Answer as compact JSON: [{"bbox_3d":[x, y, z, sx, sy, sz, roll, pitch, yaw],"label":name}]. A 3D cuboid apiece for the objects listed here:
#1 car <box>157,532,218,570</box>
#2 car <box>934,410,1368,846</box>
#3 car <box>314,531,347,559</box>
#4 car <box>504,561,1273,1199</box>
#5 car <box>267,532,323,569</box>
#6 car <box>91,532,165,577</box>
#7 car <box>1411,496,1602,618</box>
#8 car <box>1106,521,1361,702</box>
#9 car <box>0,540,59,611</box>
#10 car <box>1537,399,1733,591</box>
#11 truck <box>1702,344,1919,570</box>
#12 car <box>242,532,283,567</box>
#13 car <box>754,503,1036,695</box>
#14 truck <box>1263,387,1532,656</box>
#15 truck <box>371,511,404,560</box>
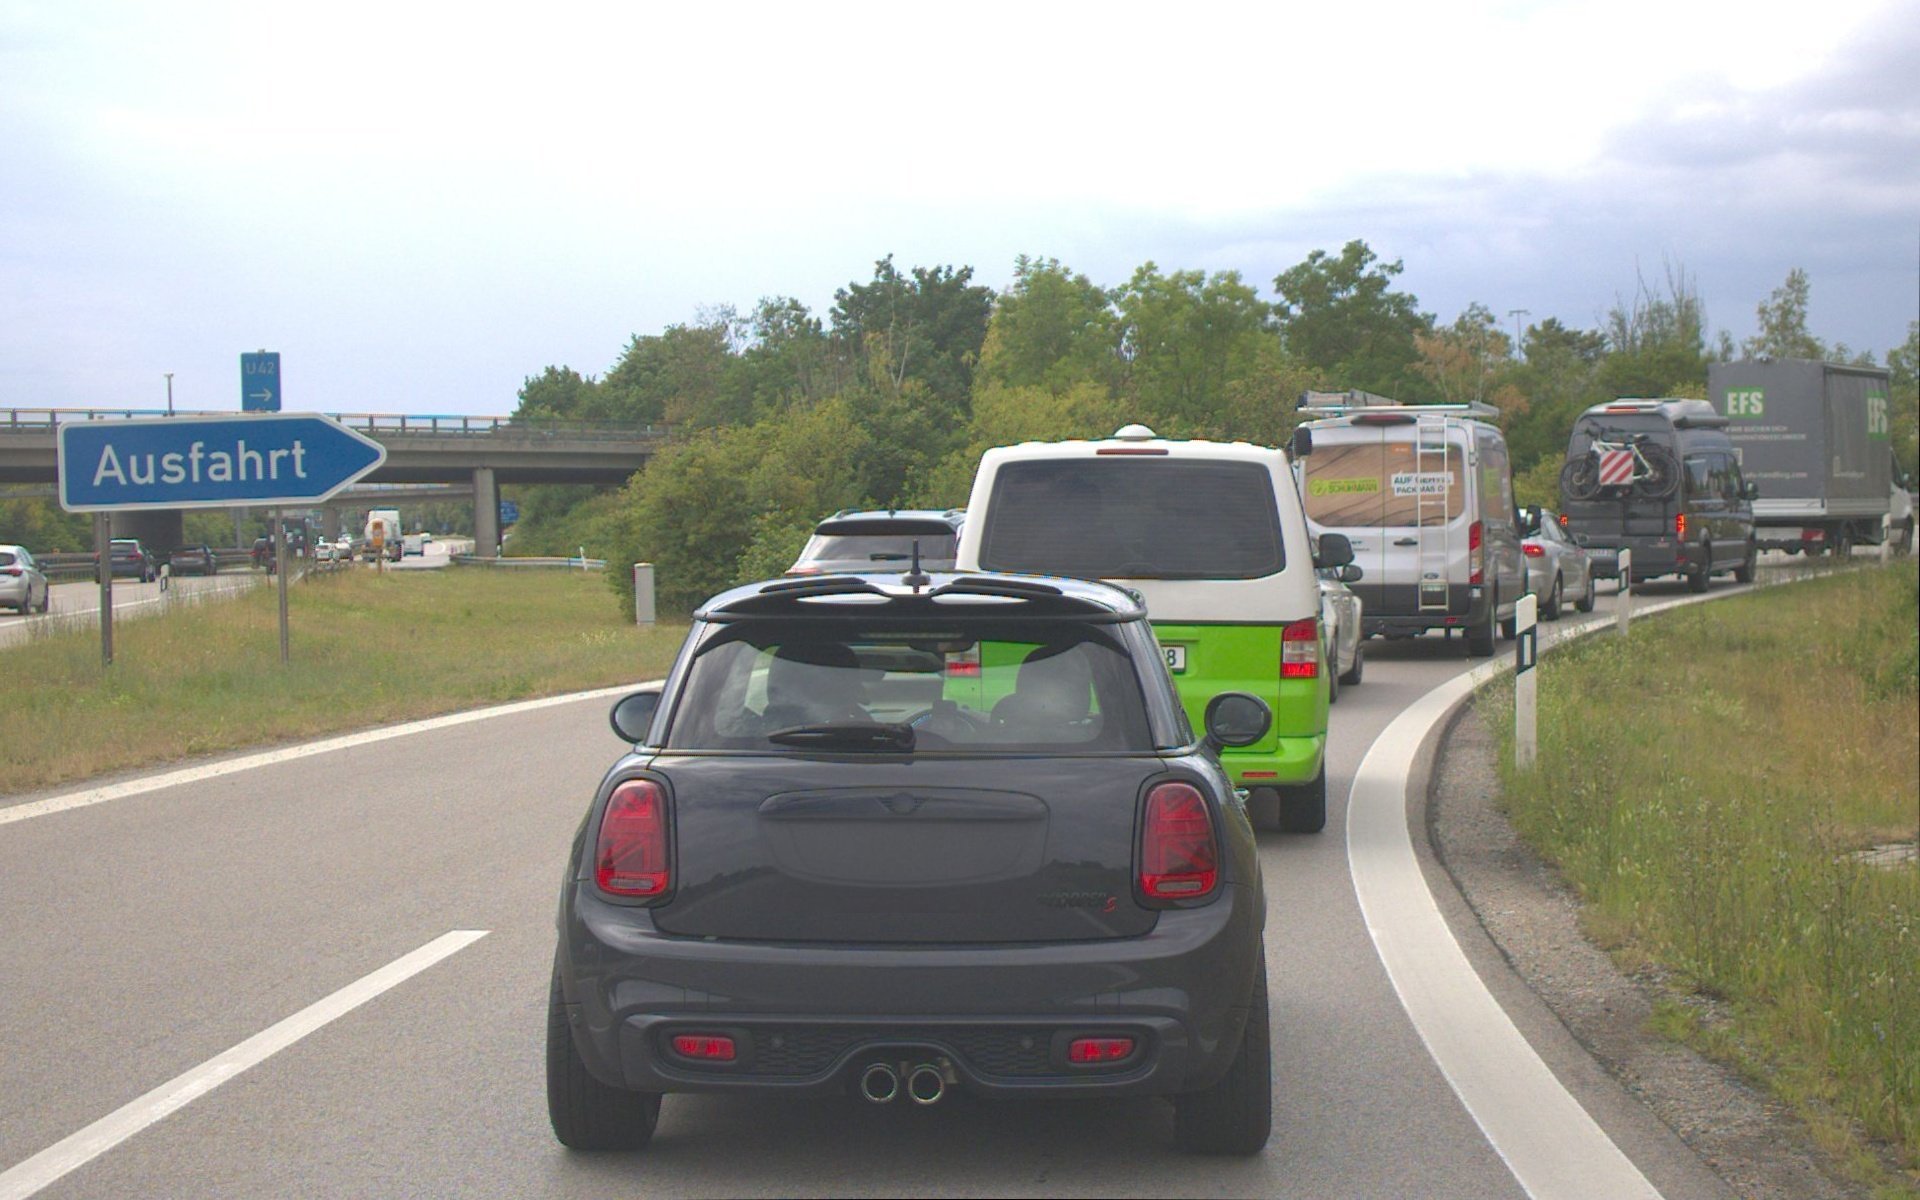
[{"bbox_3d":[-35.029,-2.235,156.017,2.159,1.665,4.307,-1,1,-5],"label":"car"},{"bbox_3d":[1.111,0.081,17.962,1.785,2.007,3.998,0,1,10],"label":"car"},{"bbox_3d":[-45.860,-3.999,250.593,1.993,1.961,4.001,1,0,-5],"label":"car"},{"bbox_3d":[-0.135,0.616,9.595,1.727,1.409,3.725,0,1,1],"label":"car"},{"bbox_3d":[-30.758,-2.311,159.023,2.095,1.665,4.307,-1,1,-5],"label":"car"},{"bbox_3d":[-31.583,-1.740,130.636,2.095,1.665,4.307,-1,1,-5],"label":"car"},{"bbox_3d":[7.162,-0.576,44.762,1.868,1.504,3.997,0,1,18],"label":"car"},{"bbox_3d":[2.332,0.052,28.551,1.763,1.394,3.724,0,1,10],"label":"car"},{"bbox_3d":[-19.808,-0.517,70.797,1.779,1.394,4.030,-1,1,-5],"label":"car"},{"bbox_3d":[10.263,-1.588,52.069,2.107,2.786,3.995,1,2,23],"label":"car"},{"bbox_3d":[15.681,-2.531,63.117,2.232,3.893,6.006,1,1,30],"label":"truck"},{"bbox_3d":[-40.214,-2.904,198.264,2.068,2.007,4.001,1,0,-9],"label":"car"},{"bbox_3d":[-0.489,-0.024,29.926,1.796,1.550,3.960,0,0,9],"label":"car"},{"bbox_3d":[4.744,-0.859,36.600,2.180,2.649,5.106,0,2,15],"label":"truck"},{"bbox_3d":[-41.530,-4.661,249.380,2.145,3.495,4.001,1,0,-7],"label":"truck"}]
